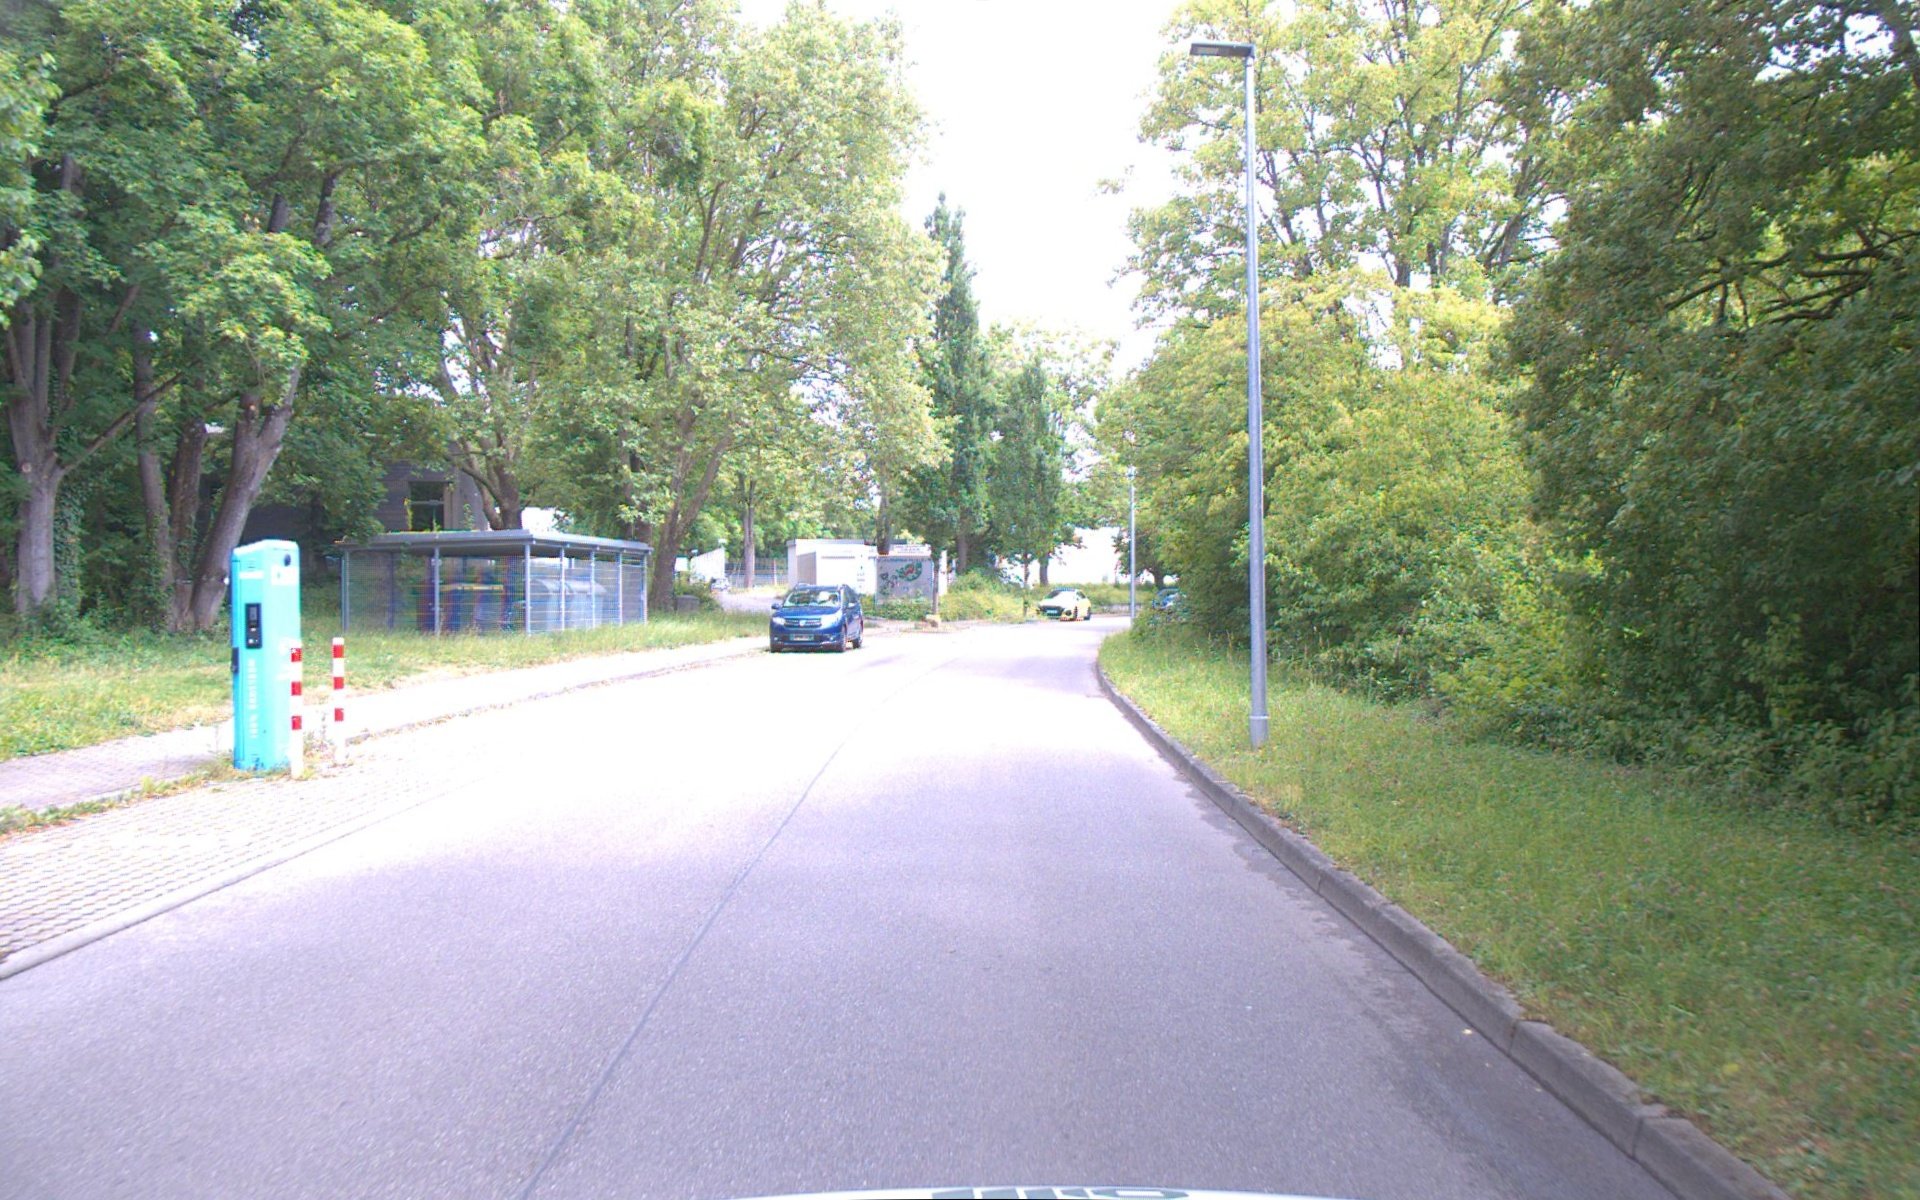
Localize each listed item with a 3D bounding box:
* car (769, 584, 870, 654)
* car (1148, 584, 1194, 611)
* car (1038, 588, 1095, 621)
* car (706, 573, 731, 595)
[{"bbox_3d":[-3.223,0.393,38.698,1.644,1.538,4.434,0,0,5],"label":"car"},{"bbox_3d":[11.859,-0.138,92.754,1.503,1.484,3.717,0,0,25],"label":"car"},{"bbox_3d":[4.931,0.207,76.119,1.664,1.427,4.275,1,0,17],"label":"car"},{"bbox_3d":[-19.703,-1.313,135.152,1.836,1.777,3.994,-1,1,-7],"label":"car"}]
